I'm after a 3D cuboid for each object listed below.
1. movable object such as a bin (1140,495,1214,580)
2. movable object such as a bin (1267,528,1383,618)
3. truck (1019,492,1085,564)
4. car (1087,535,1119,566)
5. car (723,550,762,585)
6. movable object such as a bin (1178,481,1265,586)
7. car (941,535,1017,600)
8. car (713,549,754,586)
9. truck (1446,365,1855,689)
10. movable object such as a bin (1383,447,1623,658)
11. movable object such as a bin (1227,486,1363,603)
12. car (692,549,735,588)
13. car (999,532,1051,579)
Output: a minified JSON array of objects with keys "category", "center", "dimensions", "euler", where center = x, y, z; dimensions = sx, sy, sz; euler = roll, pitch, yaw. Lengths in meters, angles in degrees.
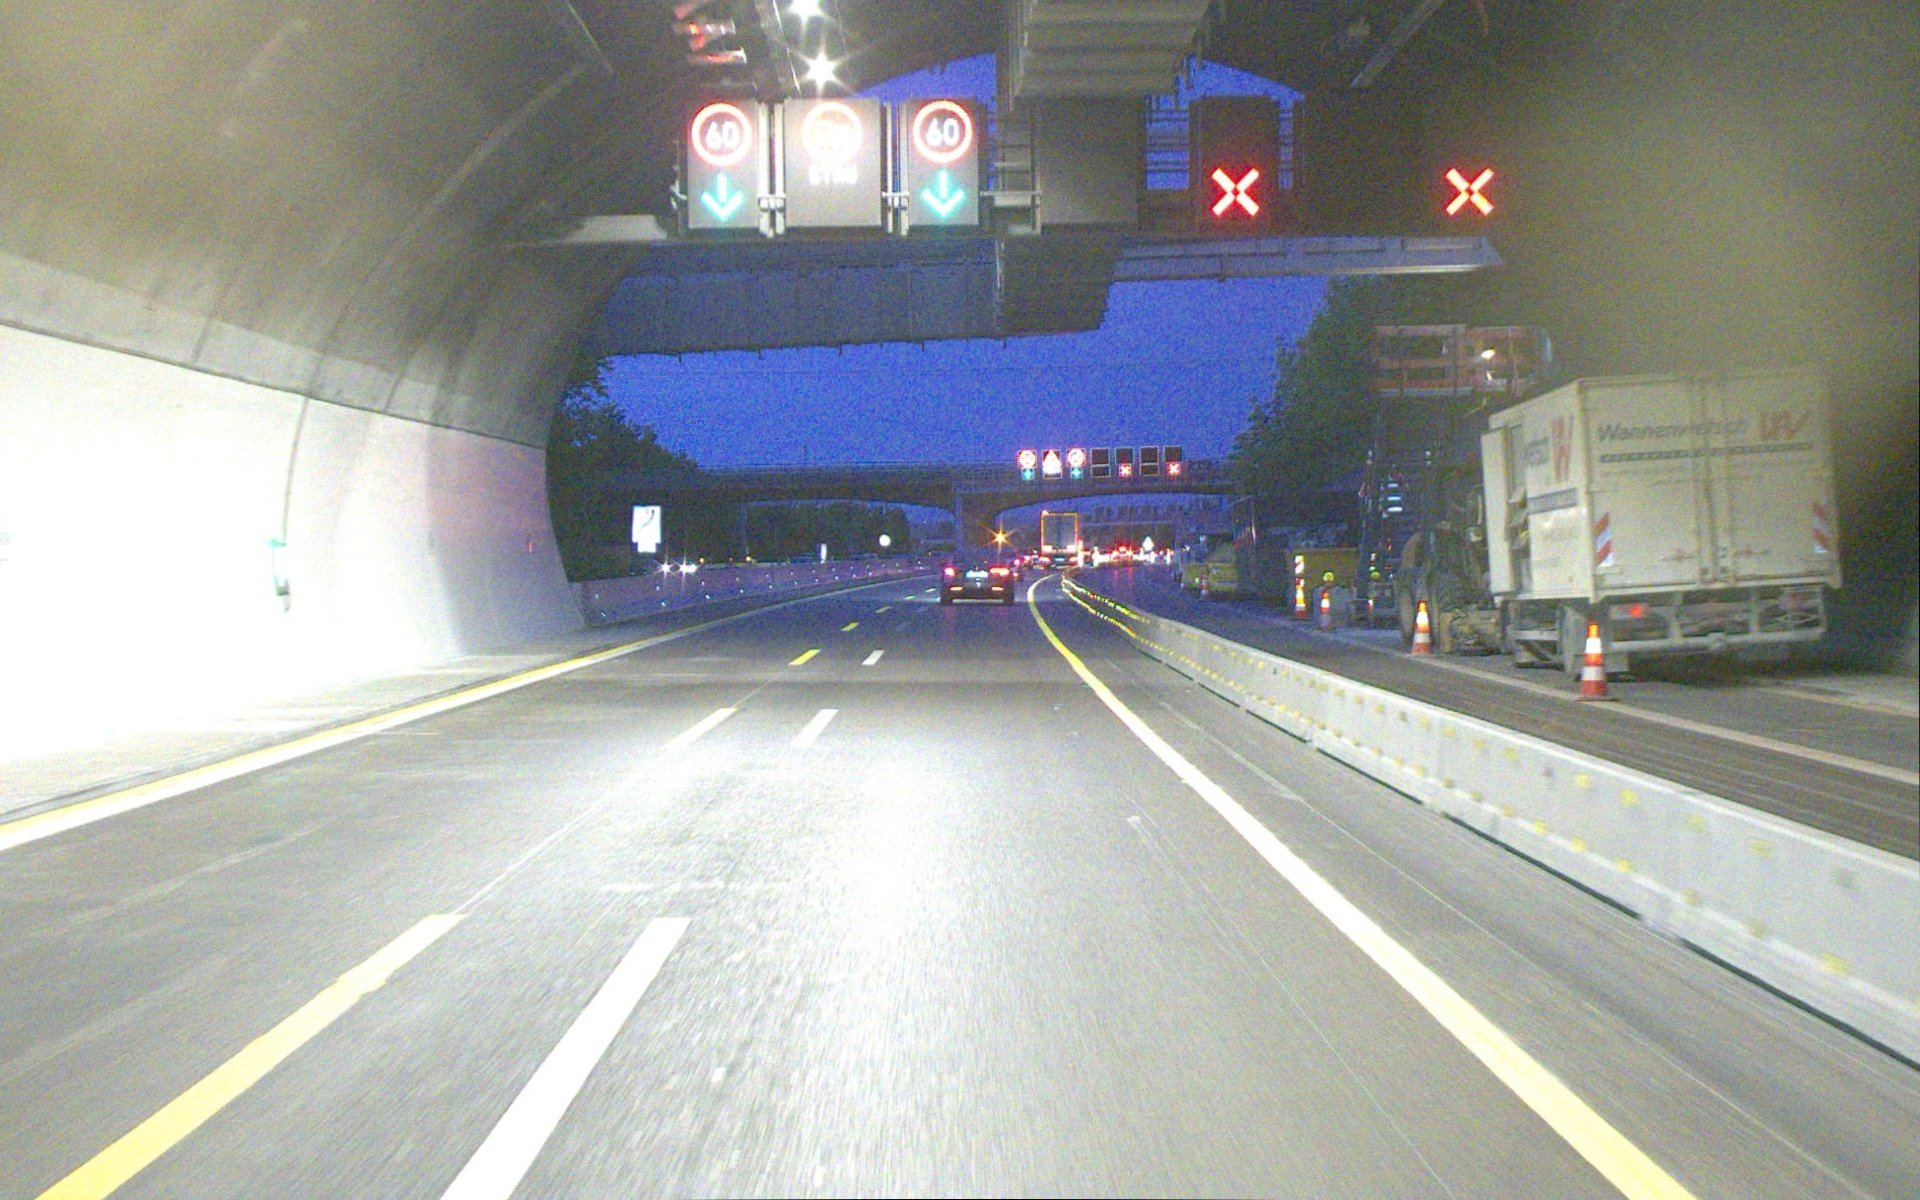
[{"category":"movable object such as a bin","center":[9.018,-2.581,143.283],"dimensions":[2.737,3.443,6.946],"euler":[0,1,1]},{"category":"movable object such as a bin","center":[7.616,-0.574,72.047],"dimensions":[1.978,1.809,3.837],"euler":[0,1,0]},{"category":"truck","center":[6.455,-5.057,243.928],"dimensions":[4.546,4.970,9.599],"euler":[0,1,1]},{"category":"car","center":[9.652,-3.351,232.265],"dimensions":[1.993,2.007,4.000],"euler":[0,1,1]},{"category":"car","center":[-12.409,-1.864,196.512],"dimensions":[1.993,2.007,4.000],"euler":[0,1,0]},{"category":"movable object such as a bin","center":[9.388,-2.374,124.118],"dimensions":[2.737,3.666,6.333],"euler":[0,1,1]},{"category":"car","center":[0.500,-0.829,87.855],"dimensions":[1.888,1.601,4.000],"euler":[0,1,1]},{"category":"car","center":[-12.472,-1.782,189.589],"dimensions":[1.993,2.007,4.000],"euler":[0,1,0]},{"category":"truck","center":[7.591,-0.787,39.024],"dimensions":[2.892,3.261,8.401],"euler":[0,1,0]},{"category":"movable object such as a bin","center":[7.626,-0.668,49.092],"dimensions":[2.238,2.784,7.233],"euler":[0,1,0]},{"category":"movable object such as a bin","center":[8.182,-1.344,84.626],"dimensions":[2.737,2.744,7.049],"euler":[0,1,1]},{"category":"car","center":[-12.846,-1.665,179.495],"dimensions":[1.993,2.007,4.000],"euler":[0,1,0]},{"category":"car","center":[2.829,-1.960,149.407],"dimensions":[1.994,2.007,3.999],"euler":[0,1,5]}]
